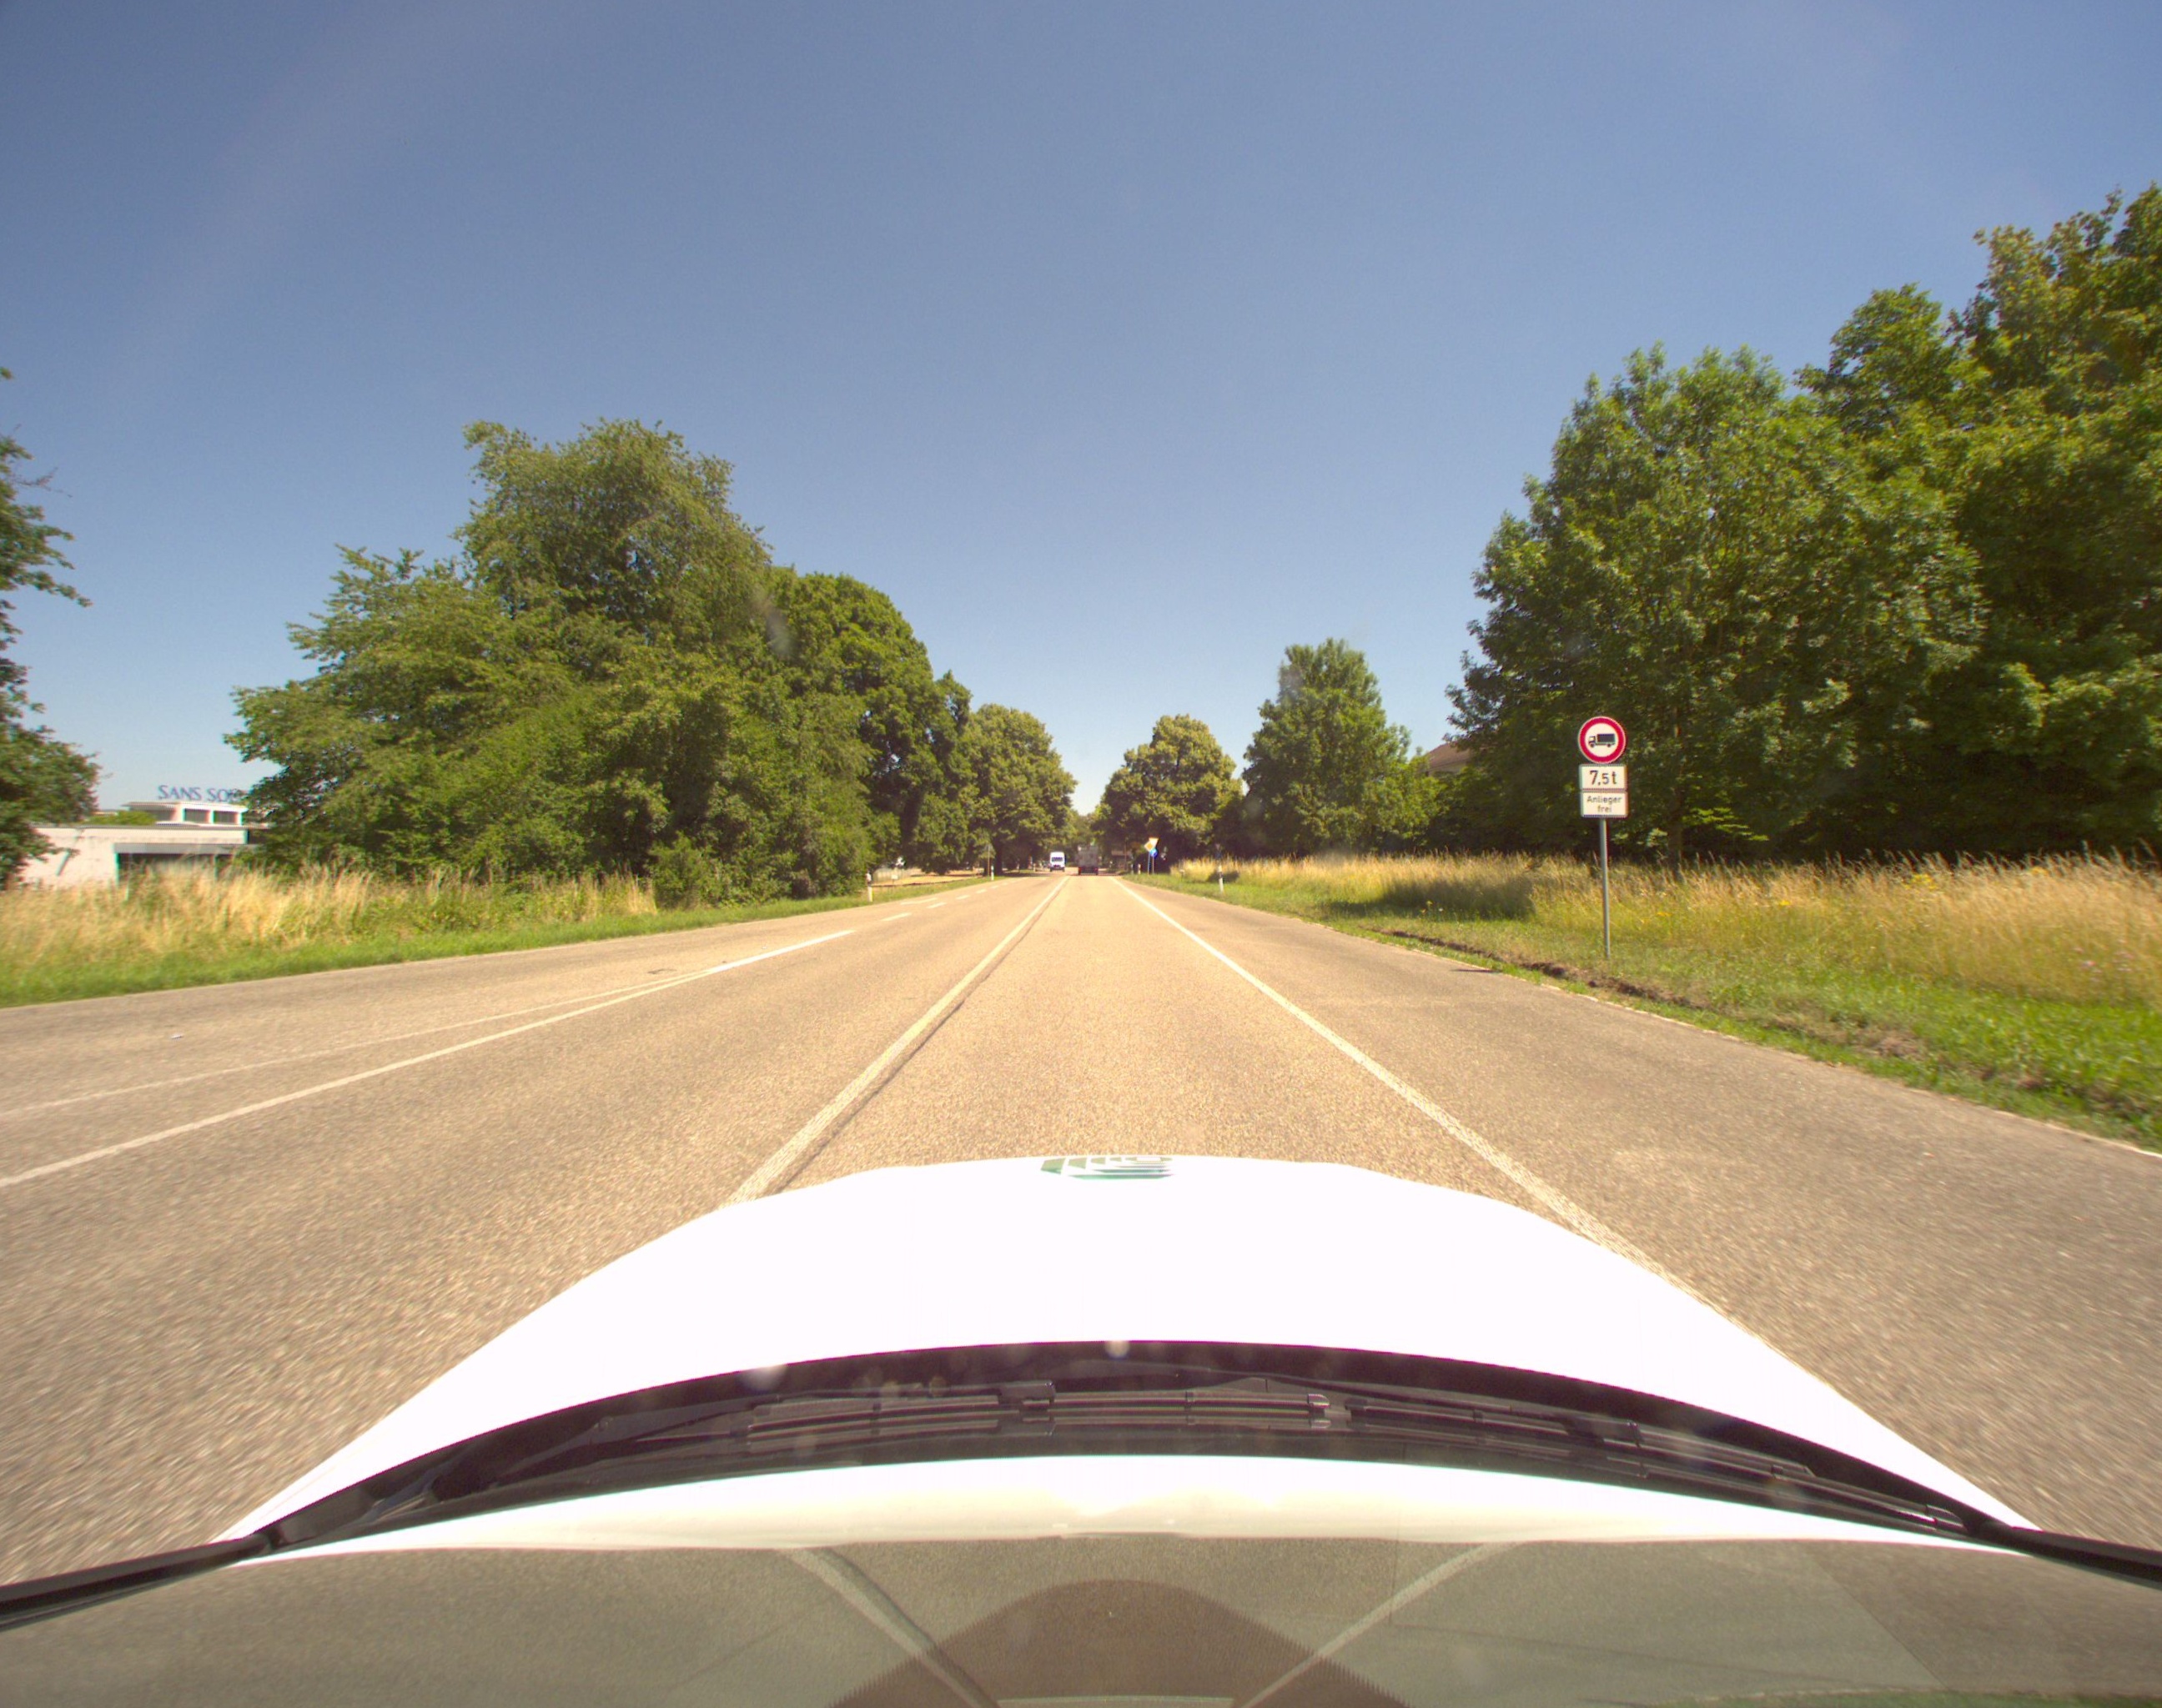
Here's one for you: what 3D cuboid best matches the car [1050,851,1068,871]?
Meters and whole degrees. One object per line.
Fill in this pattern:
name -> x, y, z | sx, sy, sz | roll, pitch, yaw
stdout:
car -> -2.968, 0.984, 113.453 | 2.065, 2.628, 6.786 | -1, -1, 2

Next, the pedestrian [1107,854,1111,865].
pedestrian -> 4.462, 0.901, 130.979 | 0.545, 1.776, 0.578 | -1, -1, 4

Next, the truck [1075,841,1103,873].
truck -> 0.877, 0.275, 83.251 | 2.522, 3.135, 5.367 | -1, 0, 4
